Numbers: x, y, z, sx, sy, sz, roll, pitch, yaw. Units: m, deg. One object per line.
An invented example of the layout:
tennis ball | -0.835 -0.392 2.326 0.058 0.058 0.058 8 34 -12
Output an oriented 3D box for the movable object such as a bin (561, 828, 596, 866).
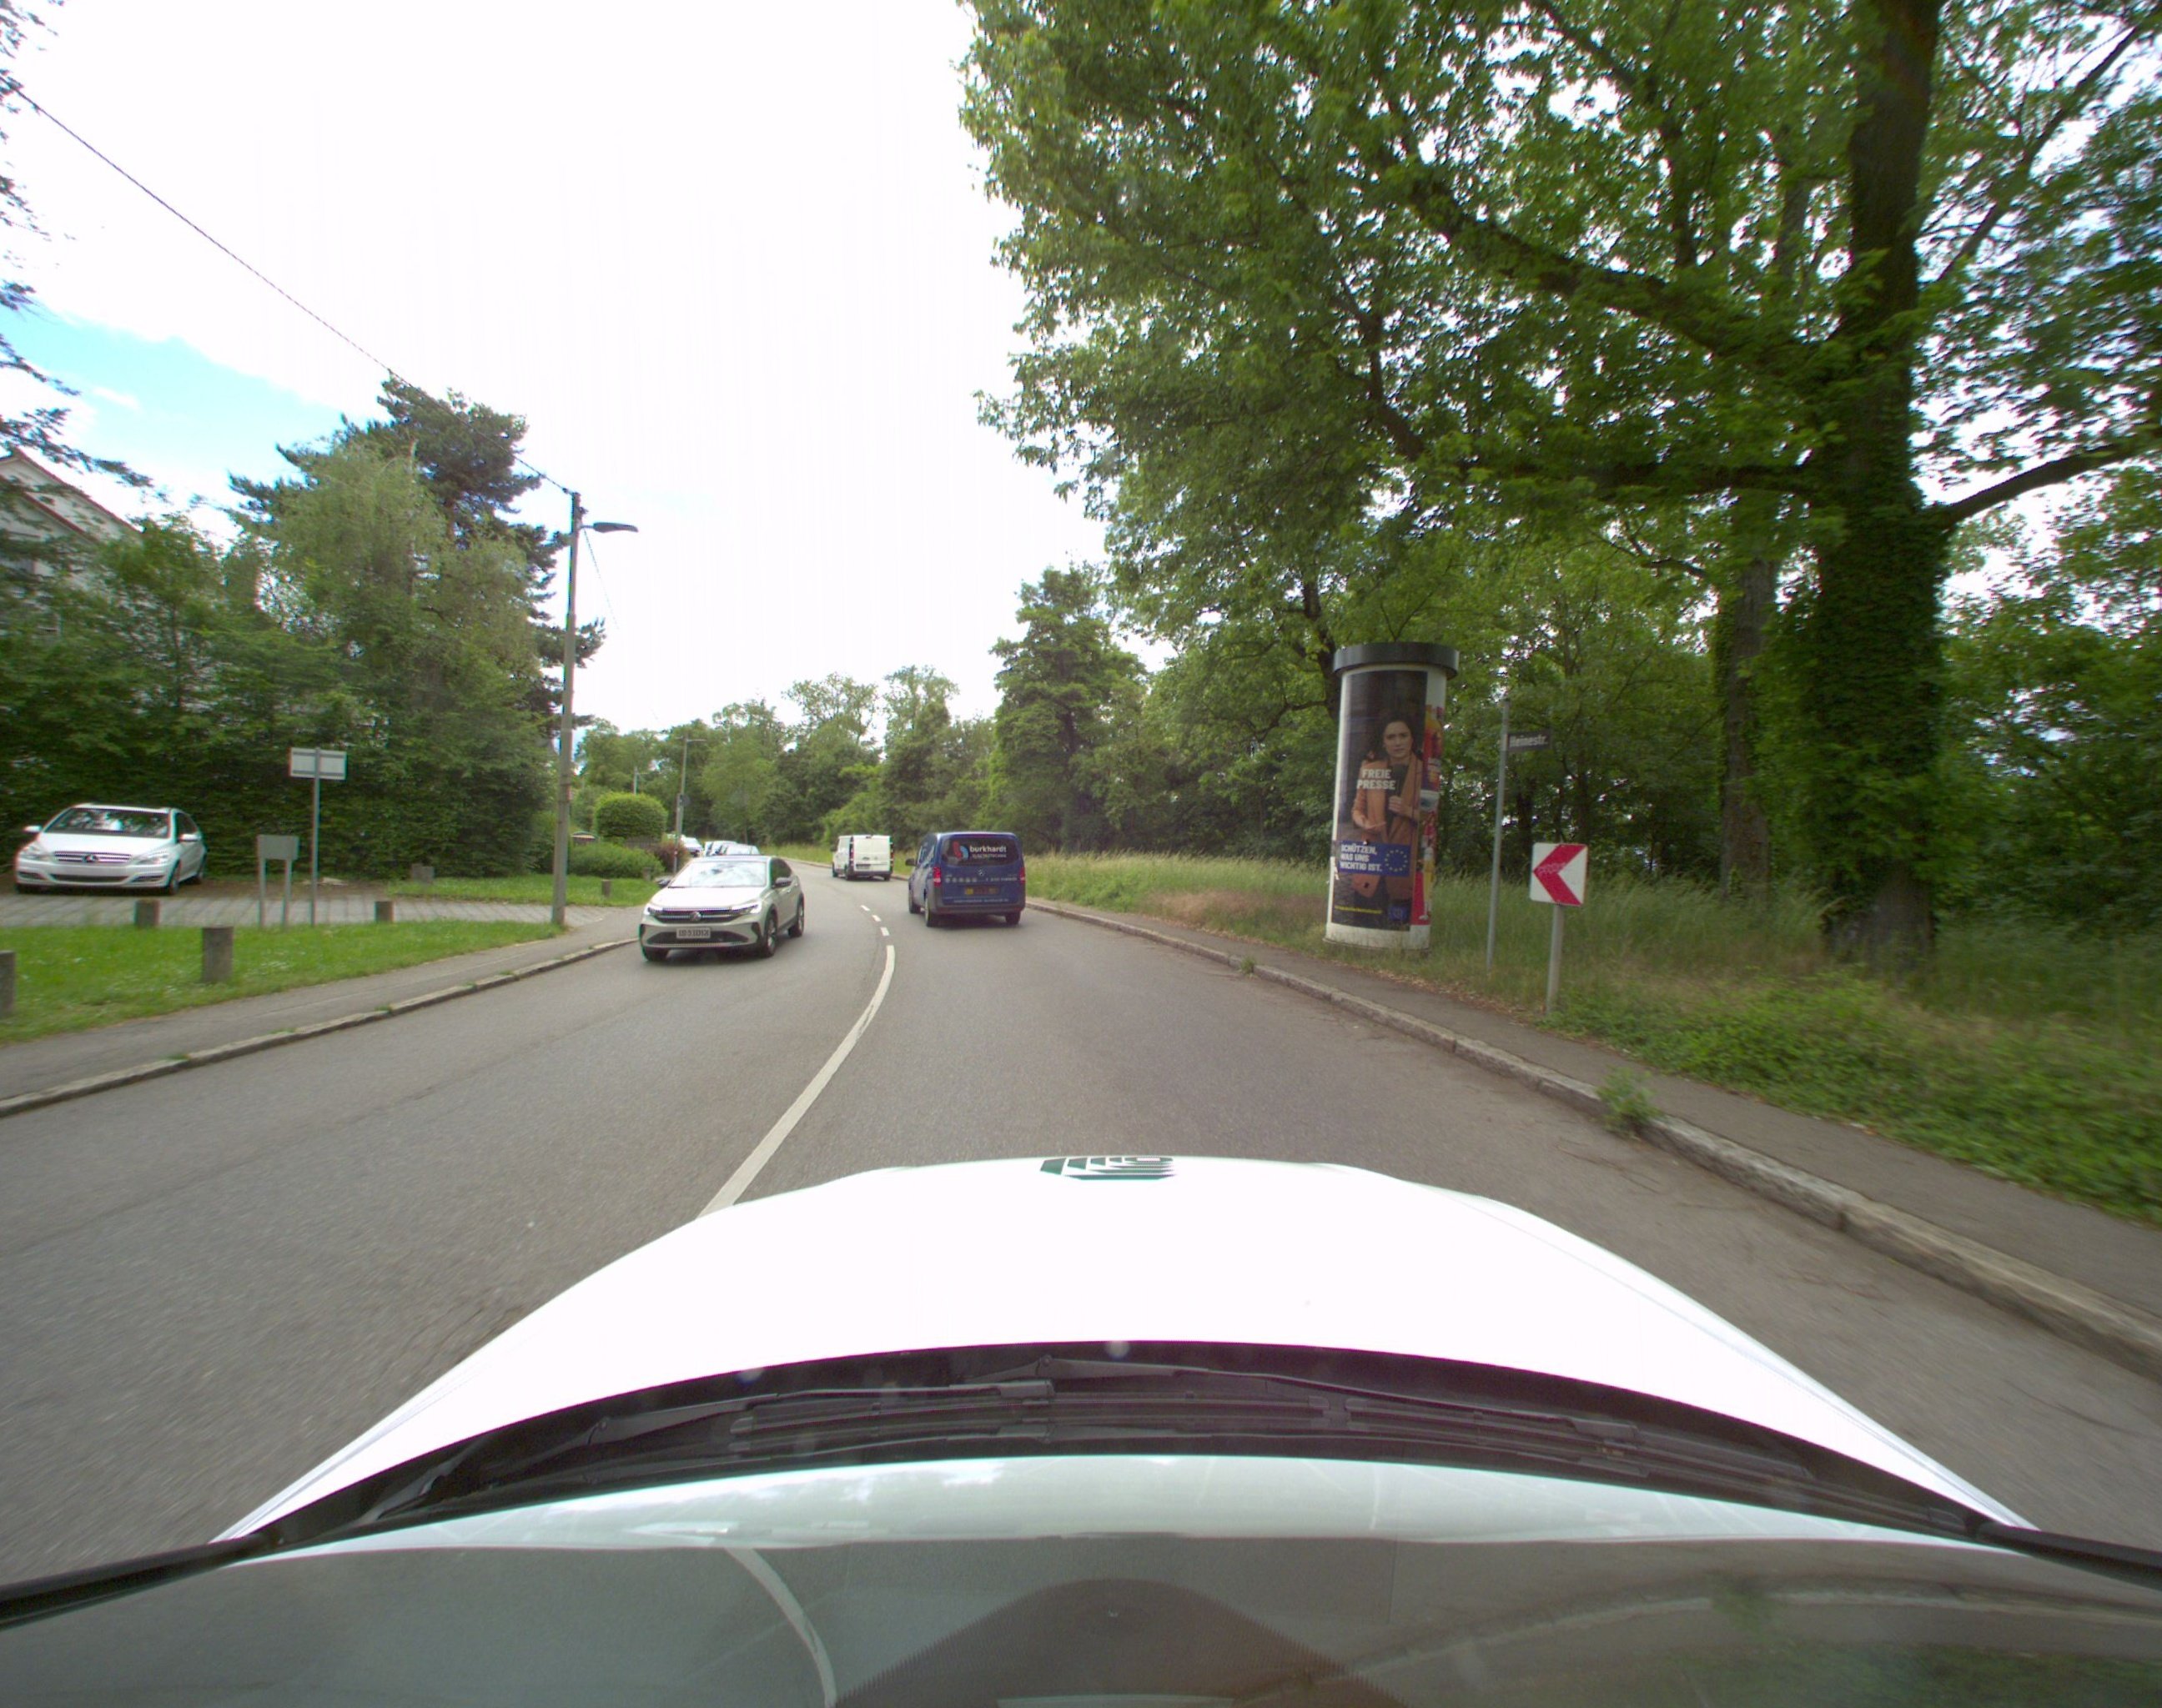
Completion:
movable object such as a bin | -20.576 -0.304 33.382 1.099 1.466 1.440 2 1 -30

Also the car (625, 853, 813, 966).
car | -5.584 0.752 13.135 1.724 1.457 4.066 -2 0 -9

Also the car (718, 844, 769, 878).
car | -15.086 0.275 36.259 1.744 1.418 4.465 1 1 -27

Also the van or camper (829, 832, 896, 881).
van or camper | -9.747 0.059 36.038 2.029 1.956 4.857 2 1 -25

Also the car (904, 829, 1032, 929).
car | -2.552 0.422 17.418 1.920 1.837 4.266 0 1 -20

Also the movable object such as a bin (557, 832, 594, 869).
movable object such as a bin | -19.865 -0.160 32.057 1.120 1.363 1.381 2 1 -30

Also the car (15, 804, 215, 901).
car | -18.139 -0.061 15.516 1.756 1.594 4.222 3 0 -41
